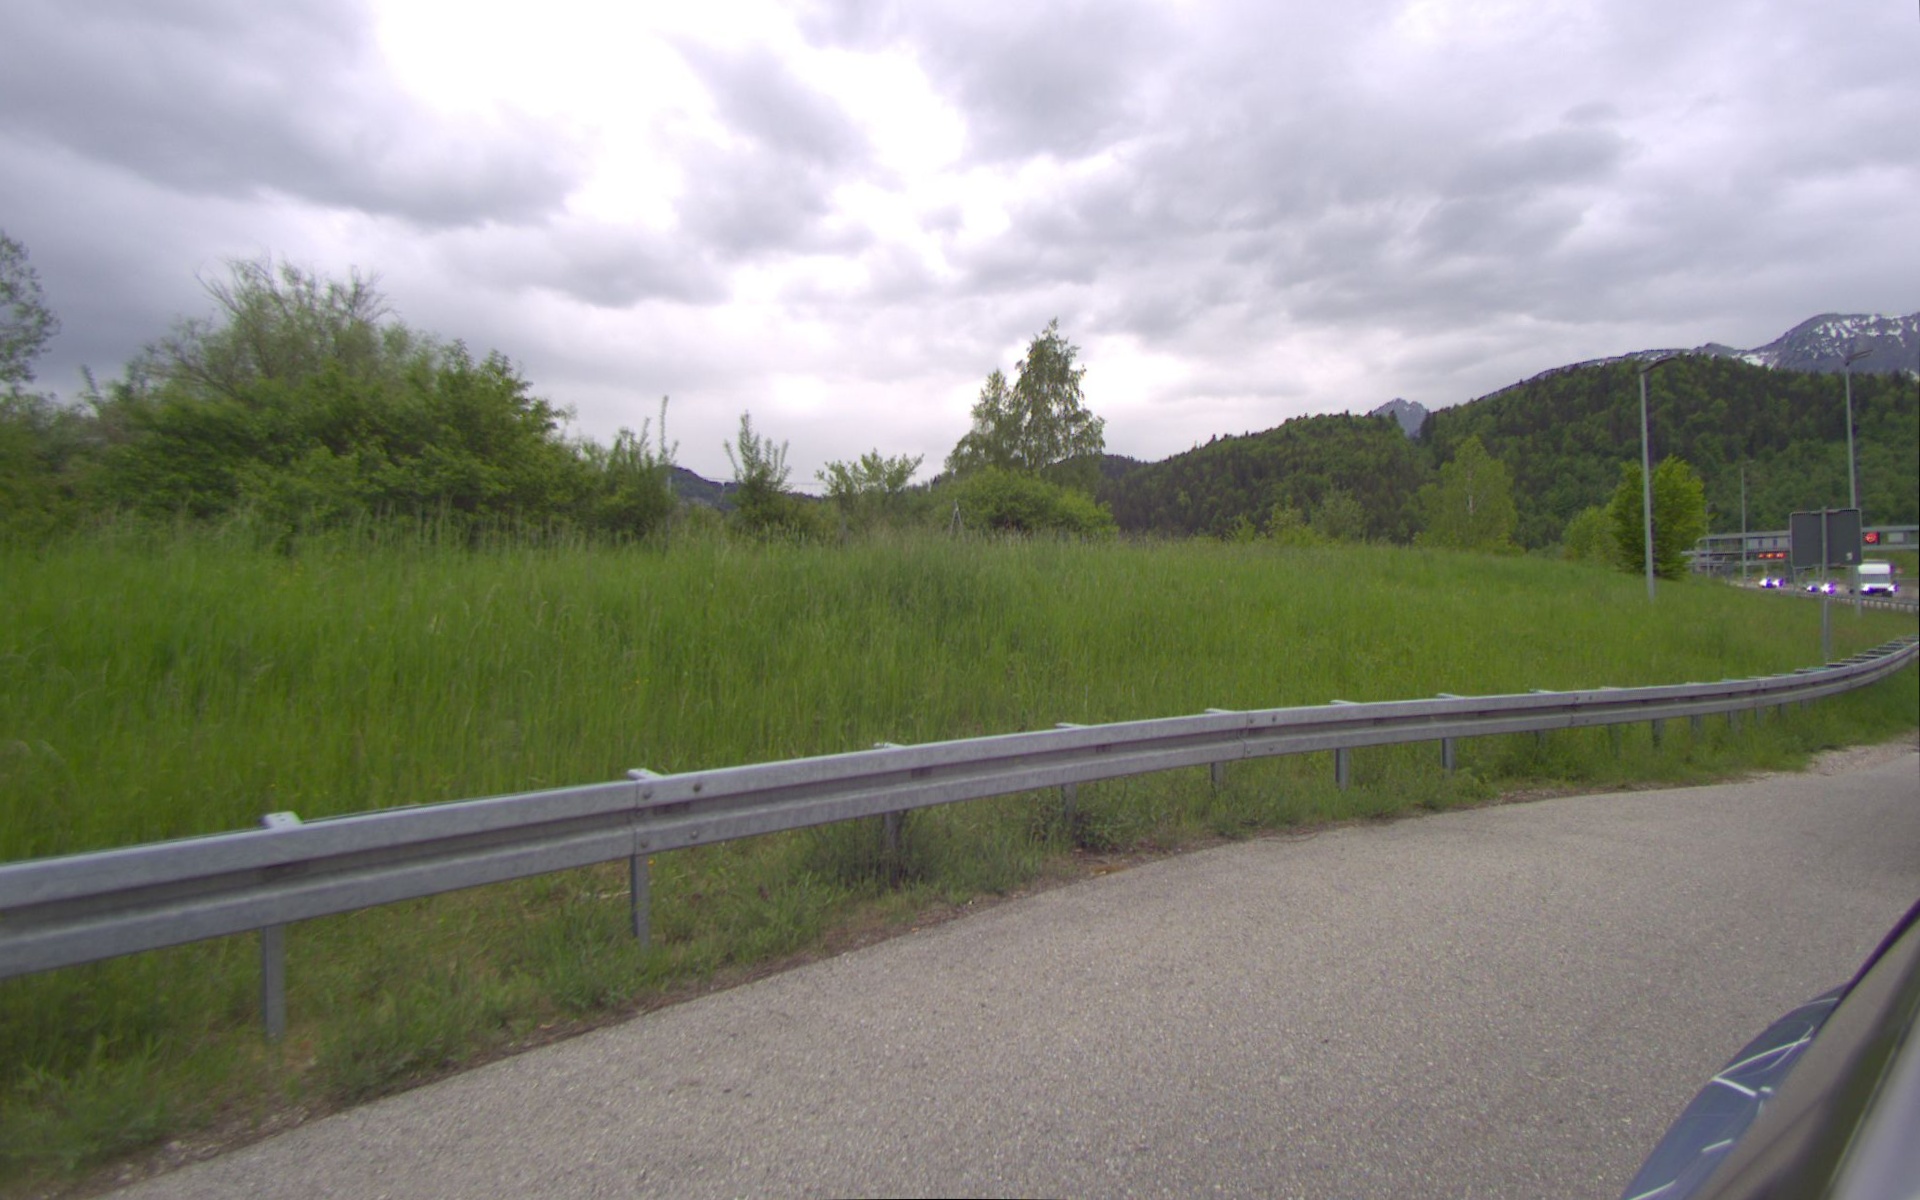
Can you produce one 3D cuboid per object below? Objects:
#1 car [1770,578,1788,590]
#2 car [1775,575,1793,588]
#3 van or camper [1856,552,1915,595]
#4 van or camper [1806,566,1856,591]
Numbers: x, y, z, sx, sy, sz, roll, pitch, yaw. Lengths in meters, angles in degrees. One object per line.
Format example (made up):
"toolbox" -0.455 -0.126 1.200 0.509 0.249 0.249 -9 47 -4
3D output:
"car" 123.638 -2.423 152.820 1.710 1.659 4.295 1 2 34
"car" 123.593 -2.734 151.787 1.858 1.895 3.946 1 2 37
"van or camper" 77.826 -2.204 85.255 2.566 3.434 7.266 1 1 34
"van or camper" 95.506 -2.337 111.065 3.323 2.677 8.097 1 1 35
